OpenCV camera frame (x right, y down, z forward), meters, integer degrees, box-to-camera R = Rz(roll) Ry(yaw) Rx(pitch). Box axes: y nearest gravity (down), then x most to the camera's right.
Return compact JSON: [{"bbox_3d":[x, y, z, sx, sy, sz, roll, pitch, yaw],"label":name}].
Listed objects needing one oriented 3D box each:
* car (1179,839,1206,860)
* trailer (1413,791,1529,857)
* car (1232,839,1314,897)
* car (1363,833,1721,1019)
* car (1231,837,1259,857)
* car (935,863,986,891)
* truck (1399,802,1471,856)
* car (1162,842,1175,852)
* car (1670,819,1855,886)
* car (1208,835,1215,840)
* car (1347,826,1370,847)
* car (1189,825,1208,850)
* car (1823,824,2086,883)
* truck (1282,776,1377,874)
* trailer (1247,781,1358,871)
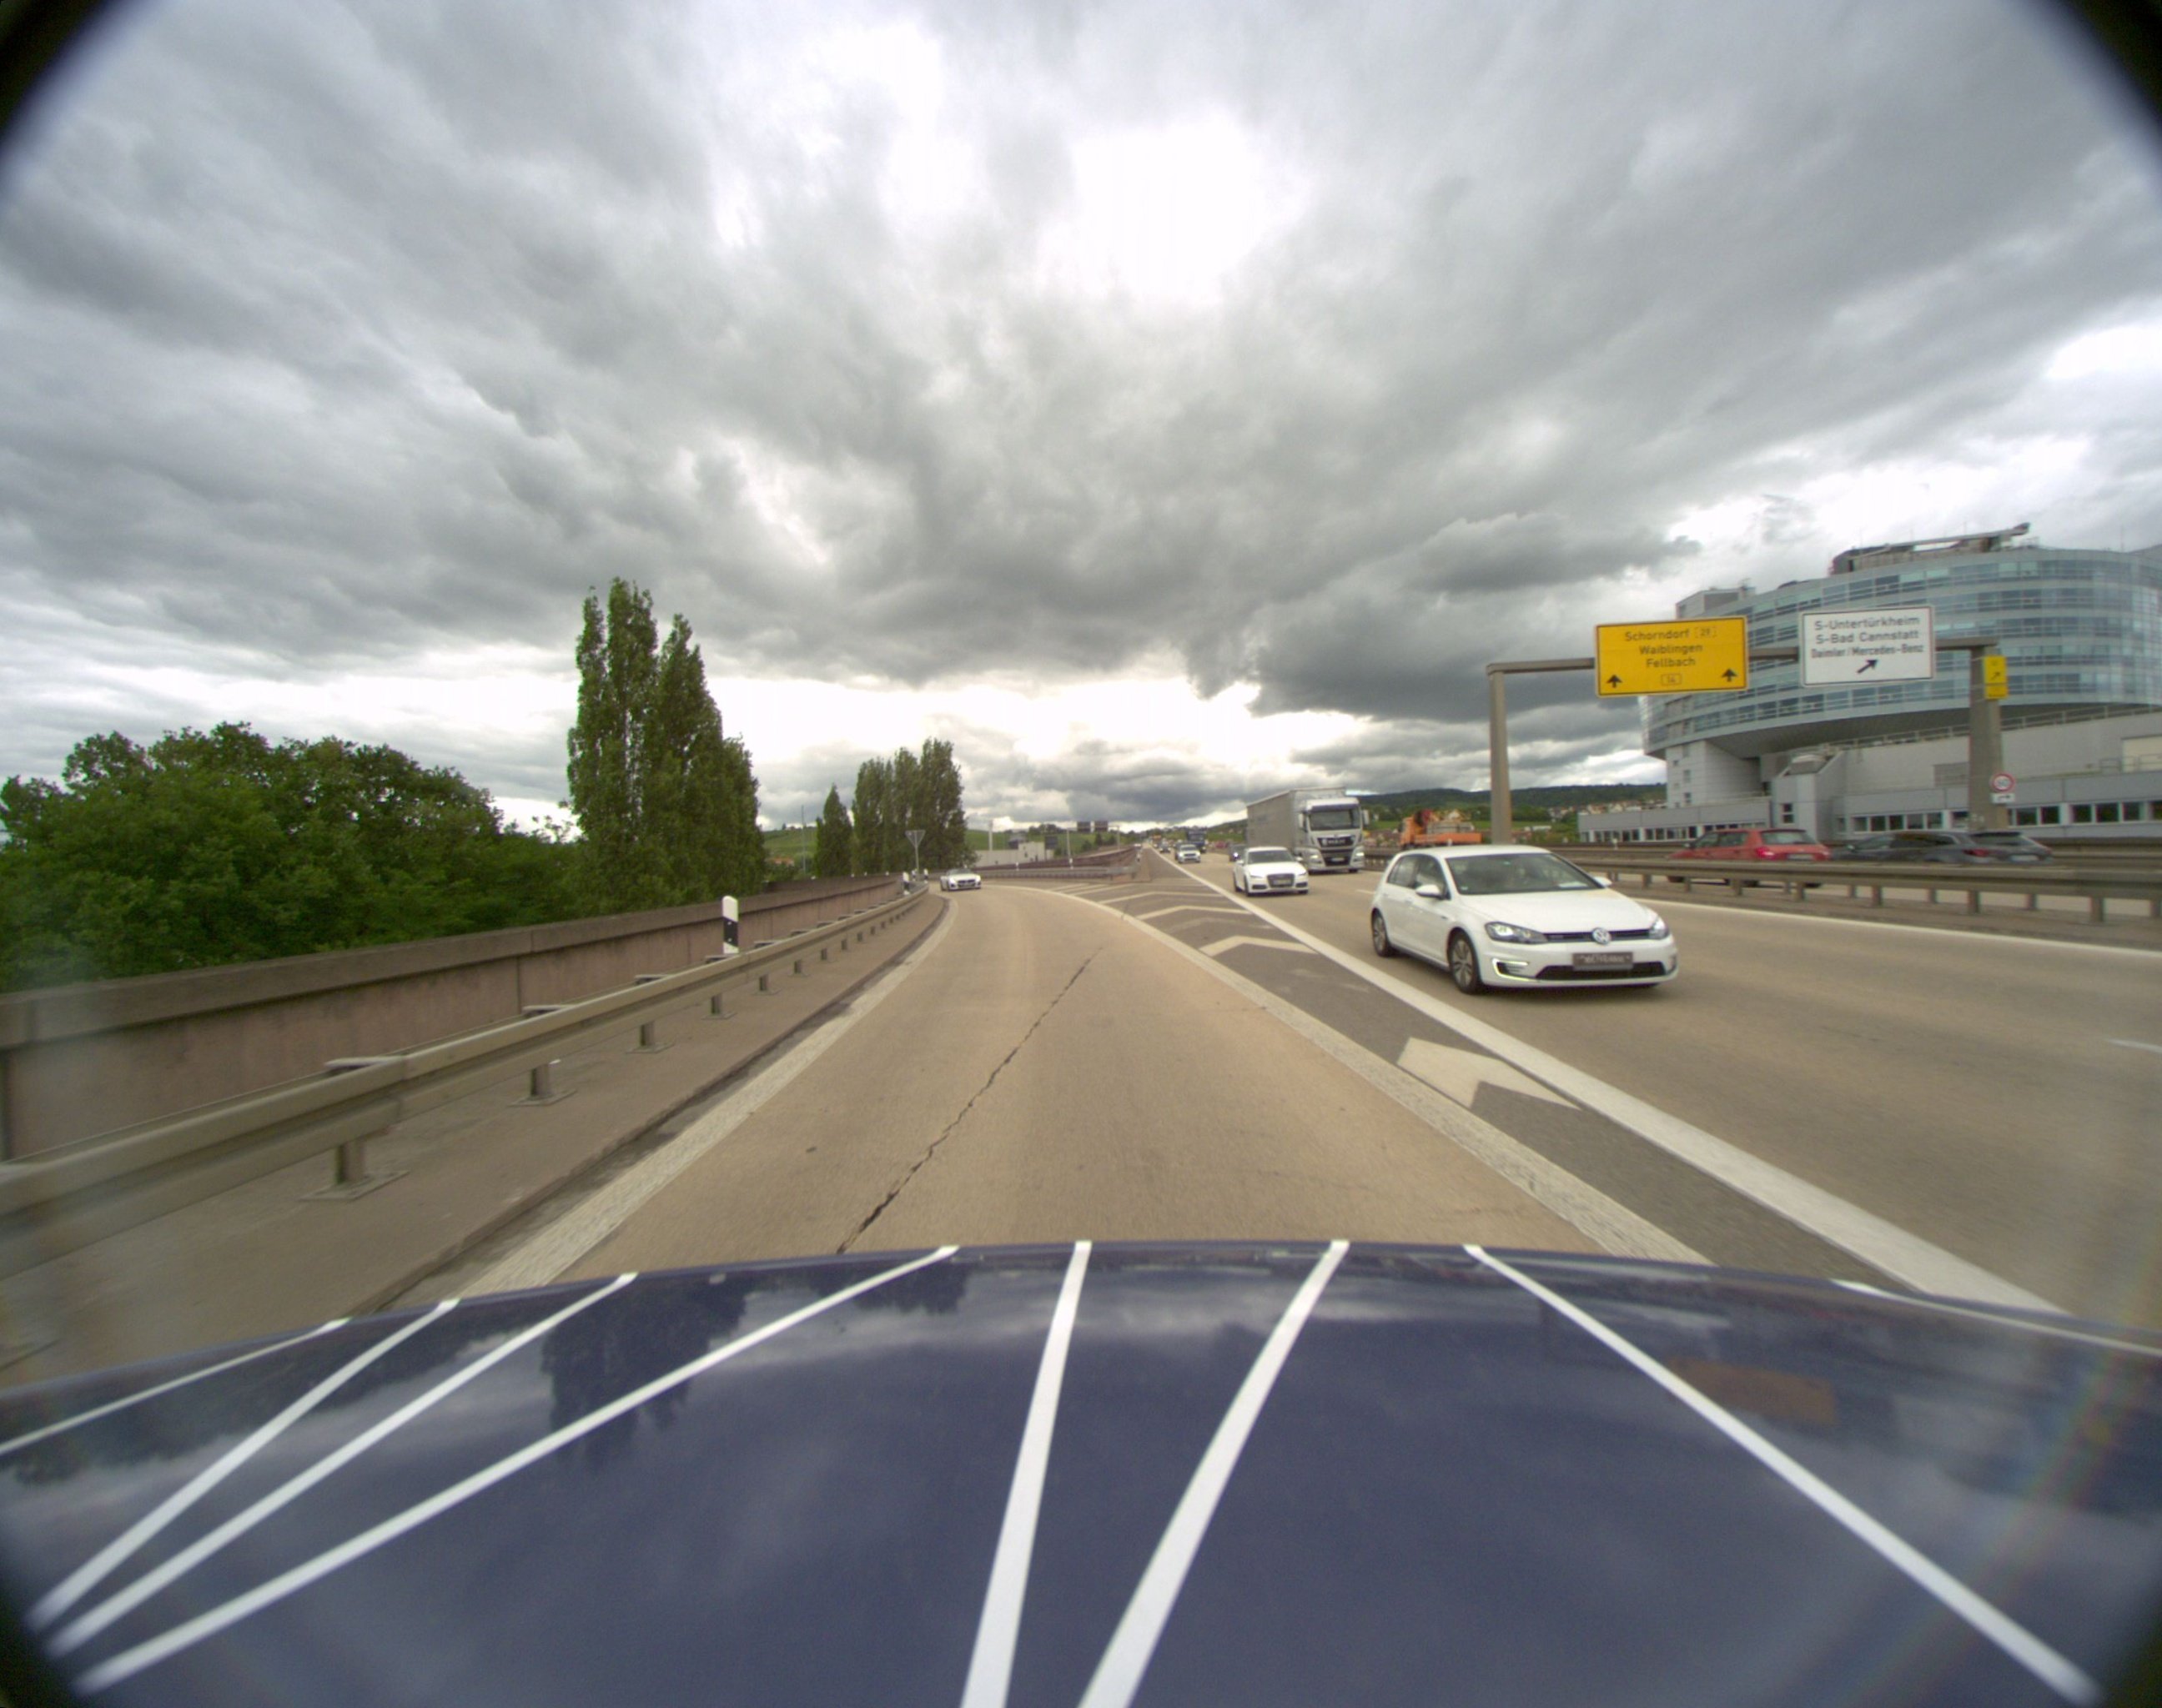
[{"bbox_3d":[10.000,-0.418,68.587,1.998,1.672,4.001,-3,0,4],"label":"car"},{"bbox_3d":[23.566,-1.660,46.593,2.740,3.615,9.358,0,0,3],"label":"trailer"},{"bbox_3d":[5.801,0.384,23.352,1.786,1.509,4.001,-4,0,6],"label":"car"},{"bbox_3d":[4.585,0.597,8.356,1.713,1.488,4.001,-3,0,5],"label":"car"},{"bbox_3d":[13.943,-0.577,64.596,1.786,1.509,4.001,-5,0,6],"label":"car"},{"bbox_3d":[-7.130,1.304,44.490,1.865,1.337,4.816,-5,2,-21],"label":"car"},{"bbox_3d":[23.840,-1.617,51.461,2.748,3.460,5.107,0,0,3],"label":"truck"},{"bbox_3d":[15.686,-1.301,136.619,1.997,1.672,4.003,-3,0,10],"label":"car"},{"bbox_3d":[17.071,-0.074,19.297,1.698,1.542,3.643,0,1,7],"label":"car"},{"bbox_3d":[40.259,-5.114,234.754,1.687,1.509,3.651,-5,0,6],"label":"car"},{"bbox_3d":[37.021,-2.263,101.562,2.582,2.628,6.198,-2,0,18],"label":"car"},{"bbox_3d":[17.692,-2.446,114.592,2.363,3.639,4.800,-4,0,6],"label":"car"},{"bbox_3d":[20.400,-0.012,18.086,1.645,1.228,4.283,0,0,7],"label":"car"},{"bbox_3d":[11.176,-1.274,34.601,2.862,3.988,4.792,-3,1,4],"label":"truck"},{"bbox_3d":[11.697,-1.421,41.921,2.862,3.988,13.975,-3,1,4],"label":"trailer"}]
